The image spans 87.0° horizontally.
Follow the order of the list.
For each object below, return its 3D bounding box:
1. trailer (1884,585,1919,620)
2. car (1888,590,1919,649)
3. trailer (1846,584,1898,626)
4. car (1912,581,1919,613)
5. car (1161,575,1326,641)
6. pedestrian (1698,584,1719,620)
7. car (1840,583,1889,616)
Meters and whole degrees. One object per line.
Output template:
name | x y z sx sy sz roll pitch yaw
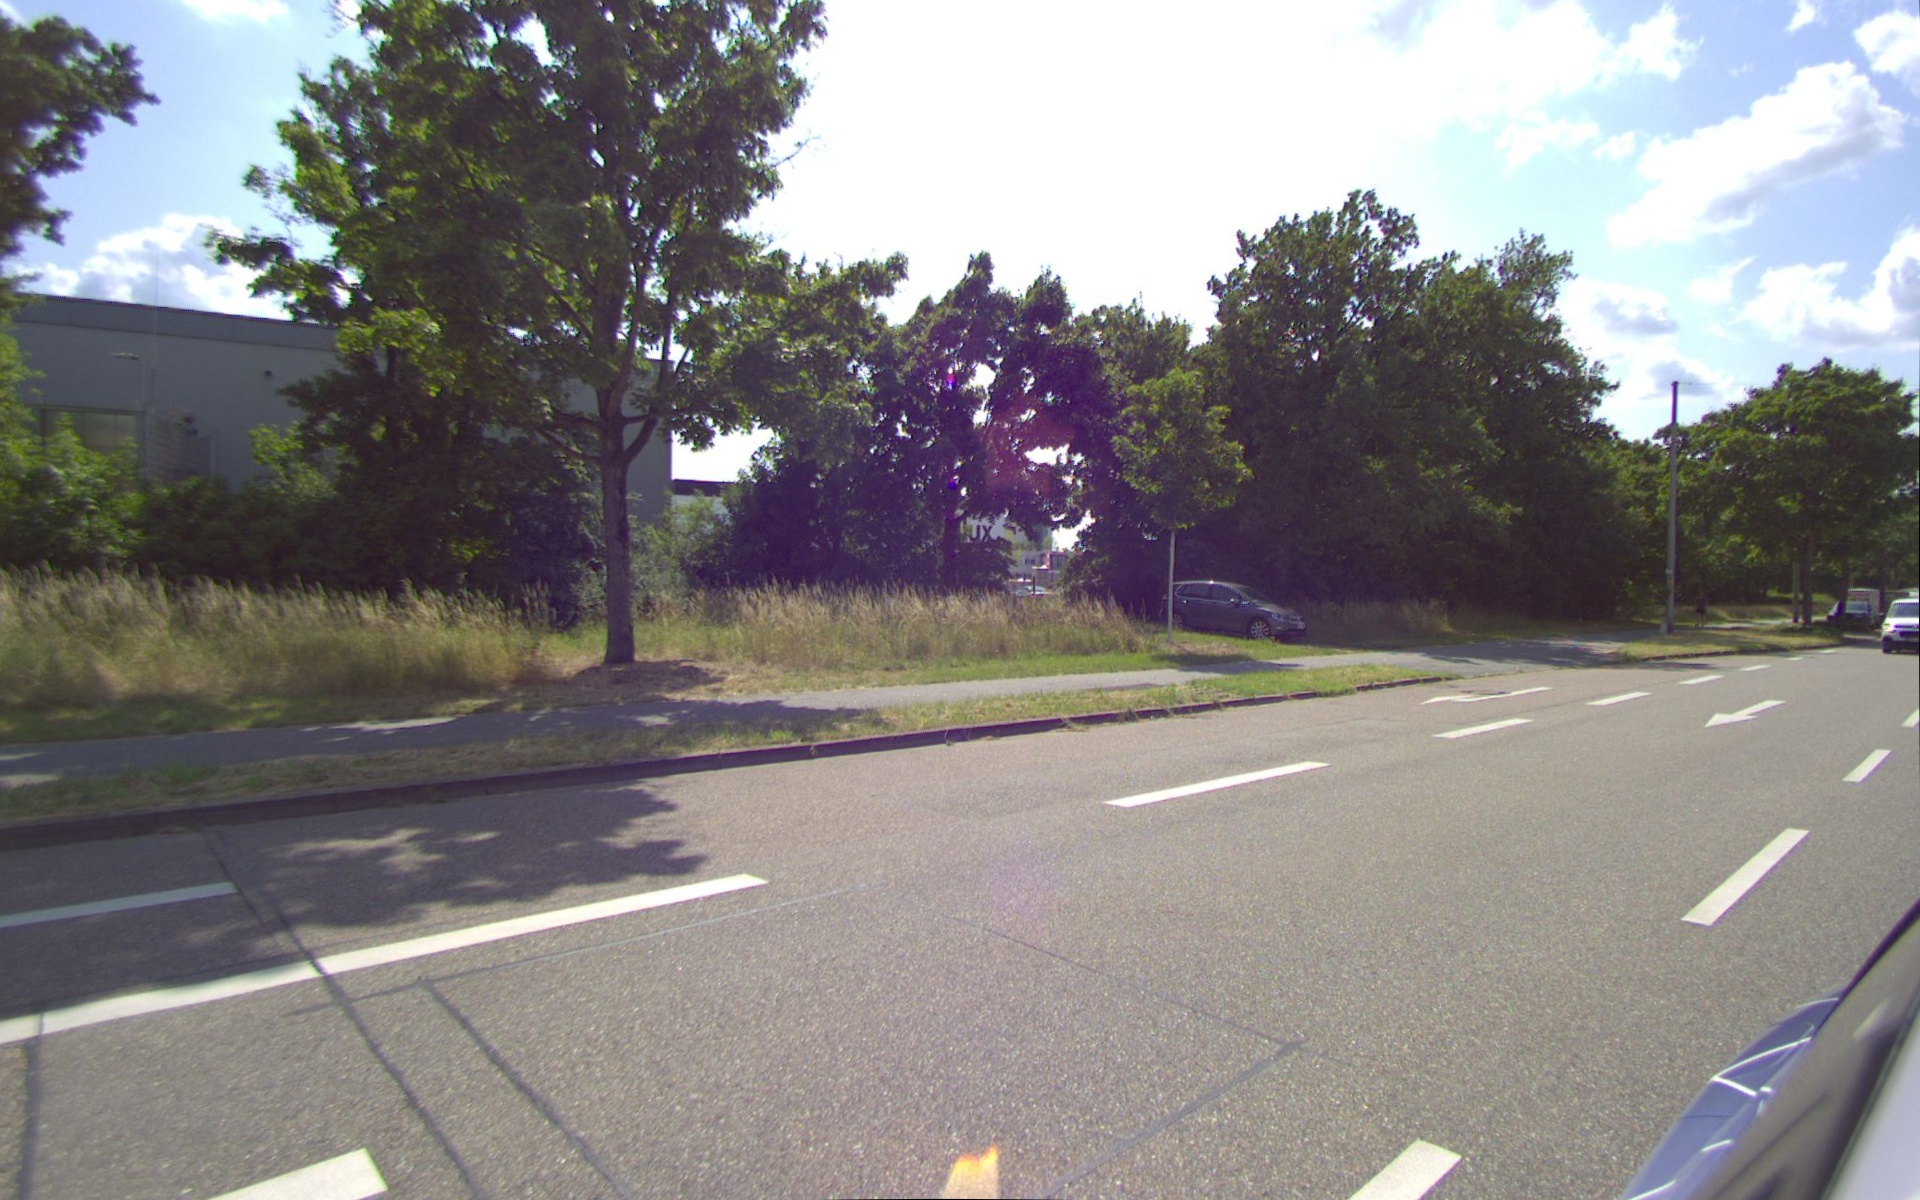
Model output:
trailer | 69.861 0.141 74.583 4.701 2.393 1.998 -1 6 -43
car | 31.285 0.607 32.342 4.634 1.808 1.933 1 -1 -42
trailer | 54.768 0.246 60.752 4.530 2.380 1.954 0 3 -44
car | 90.923 -0.267 94.684 6.656 2.836 2.259 -1 4 -44
car | 8.071 0.201 29.039 4.166 1.511 1.755 6 2 44
pedestrian | 37.802 0.092 51.128 0.727 1.817 0.717 0 -1 -43
car | 50.274 -0.071 56.208 4.288 1.712 1.593 -1 2 -43
